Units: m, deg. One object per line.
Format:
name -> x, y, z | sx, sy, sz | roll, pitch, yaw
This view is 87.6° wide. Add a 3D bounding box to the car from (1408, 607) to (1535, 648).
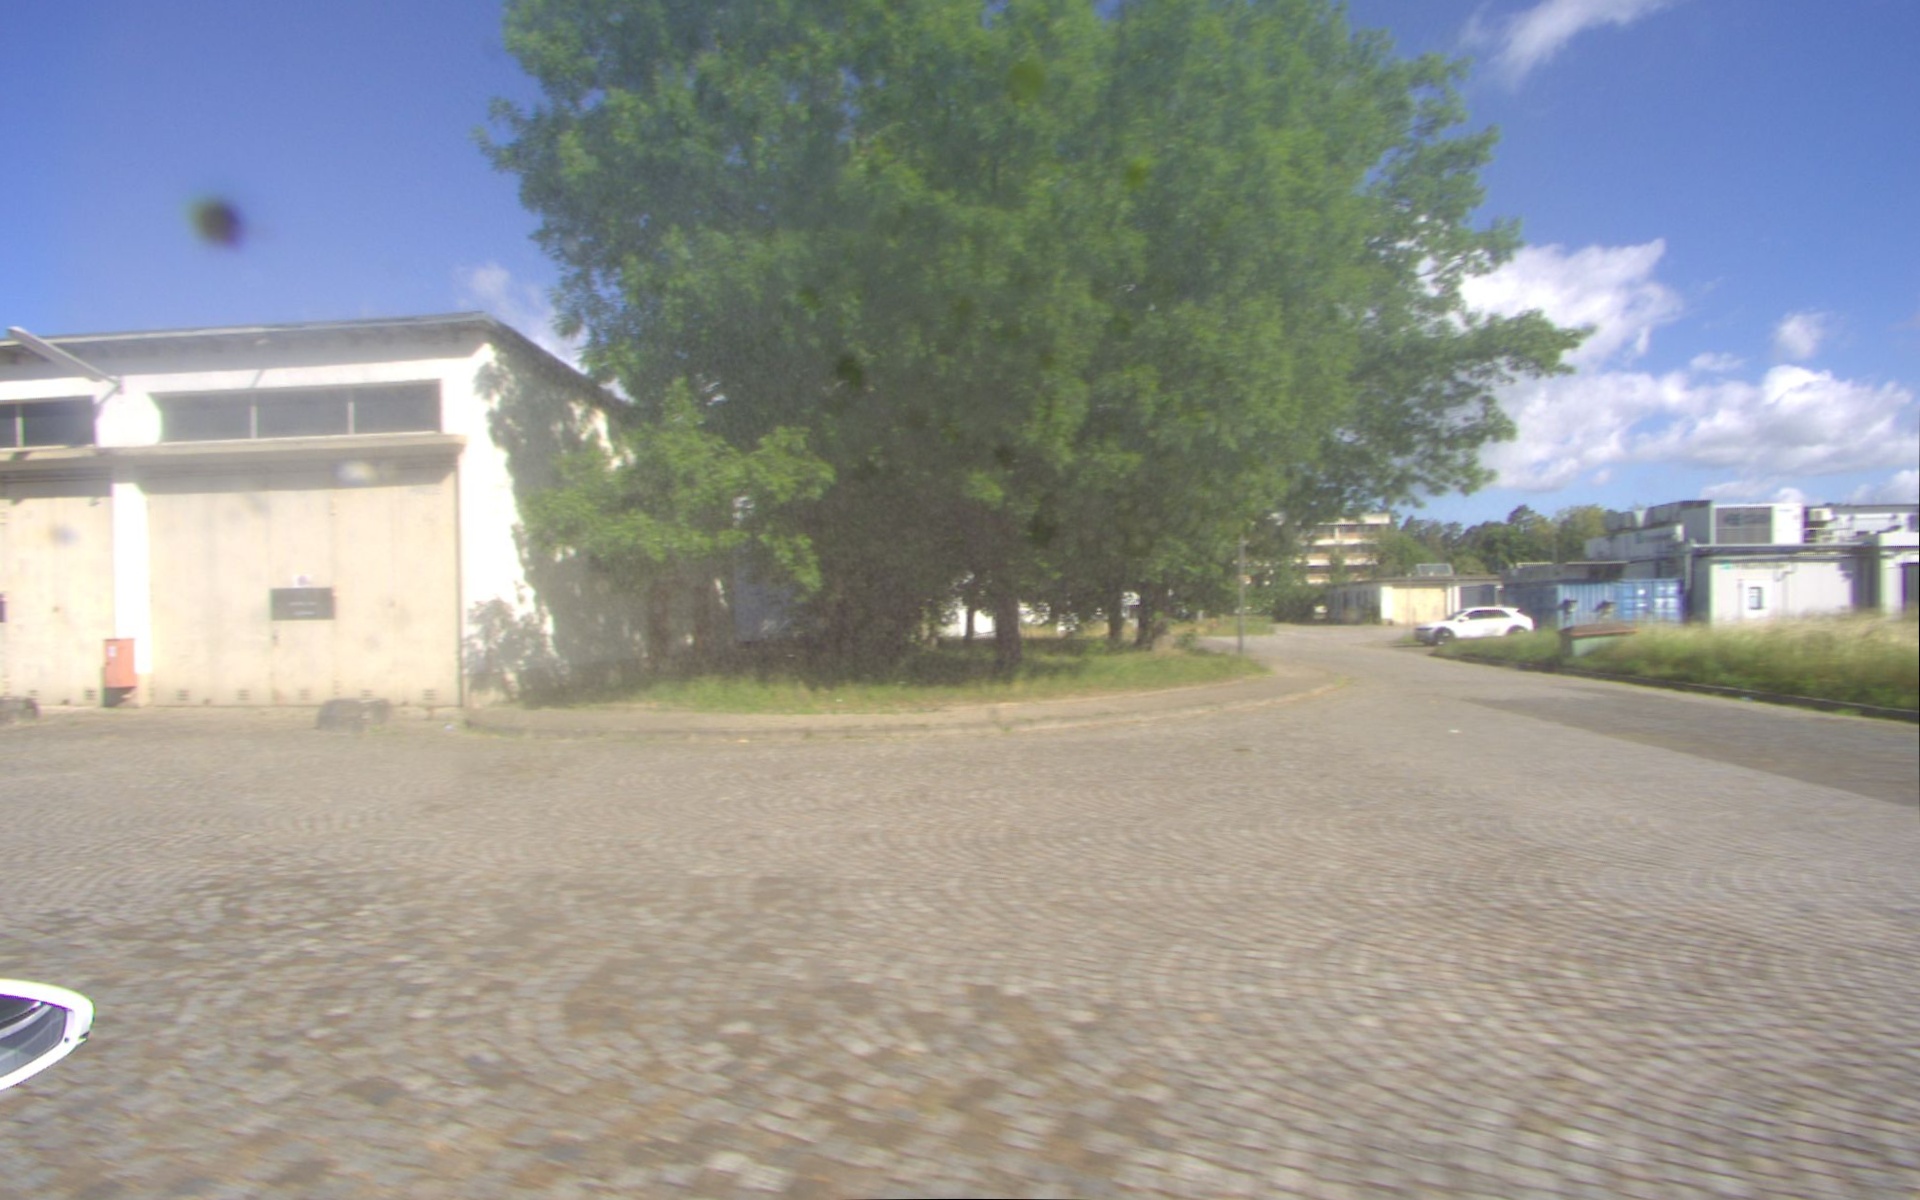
car -> 21.796, 1.150, 42.821 | 4.432, 1.669, 2.000 | -1, 0, 7
